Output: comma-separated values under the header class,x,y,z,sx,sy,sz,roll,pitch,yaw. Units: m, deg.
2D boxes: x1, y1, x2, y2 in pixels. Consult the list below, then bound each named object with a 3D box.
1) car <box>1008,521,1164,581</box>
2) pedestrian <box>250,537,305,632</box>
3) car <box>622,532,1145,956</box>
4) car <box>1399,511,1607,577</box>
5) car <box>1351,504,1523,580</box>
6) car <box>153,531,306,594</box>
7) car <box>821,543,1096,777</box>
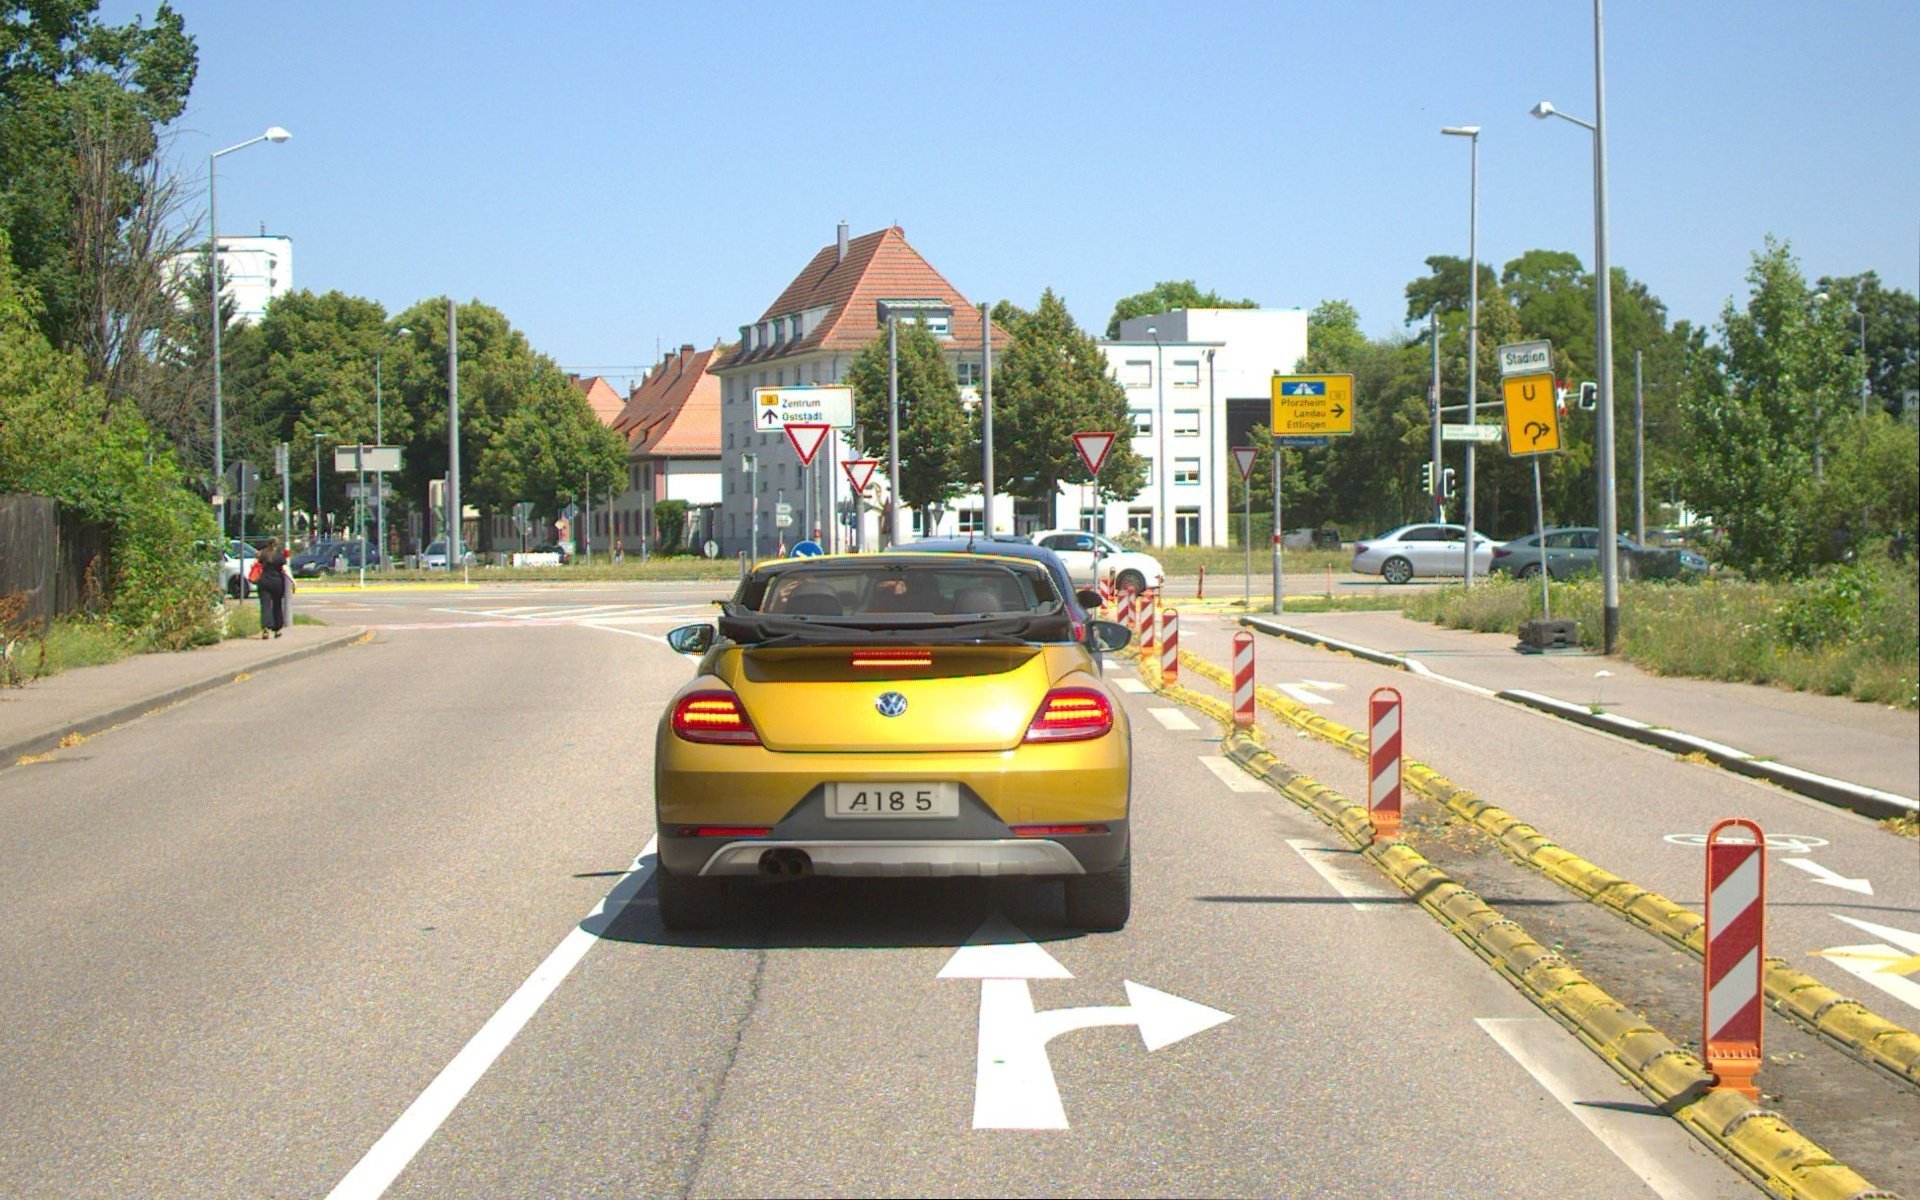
class,x,y,z,sx,sy,sz,roll,pitch,yaw
car,2.828,-1.107,76.862,3.437,1.271,1.202,-1,1,4
pedestrian,-10.646,-0.244,53.663,0.722,1.449,0.818,-1,1,-4
car,-0.317,0.461,13.839,1.790,1.432,3.814,-1,1,-2
car,11.919,-1.239,75.389,4.442,1.353,1.536,-1,1,11
car,11.560,-1.414,83.329,4.074,1.738,1.566,-1,1,9
car,-19.053,-0.982,89.669,3.702,1.565,1.679,0,1,30
car,-0.050,0.349,23.871,1.726,1.438,4.000,-1,1,-1
